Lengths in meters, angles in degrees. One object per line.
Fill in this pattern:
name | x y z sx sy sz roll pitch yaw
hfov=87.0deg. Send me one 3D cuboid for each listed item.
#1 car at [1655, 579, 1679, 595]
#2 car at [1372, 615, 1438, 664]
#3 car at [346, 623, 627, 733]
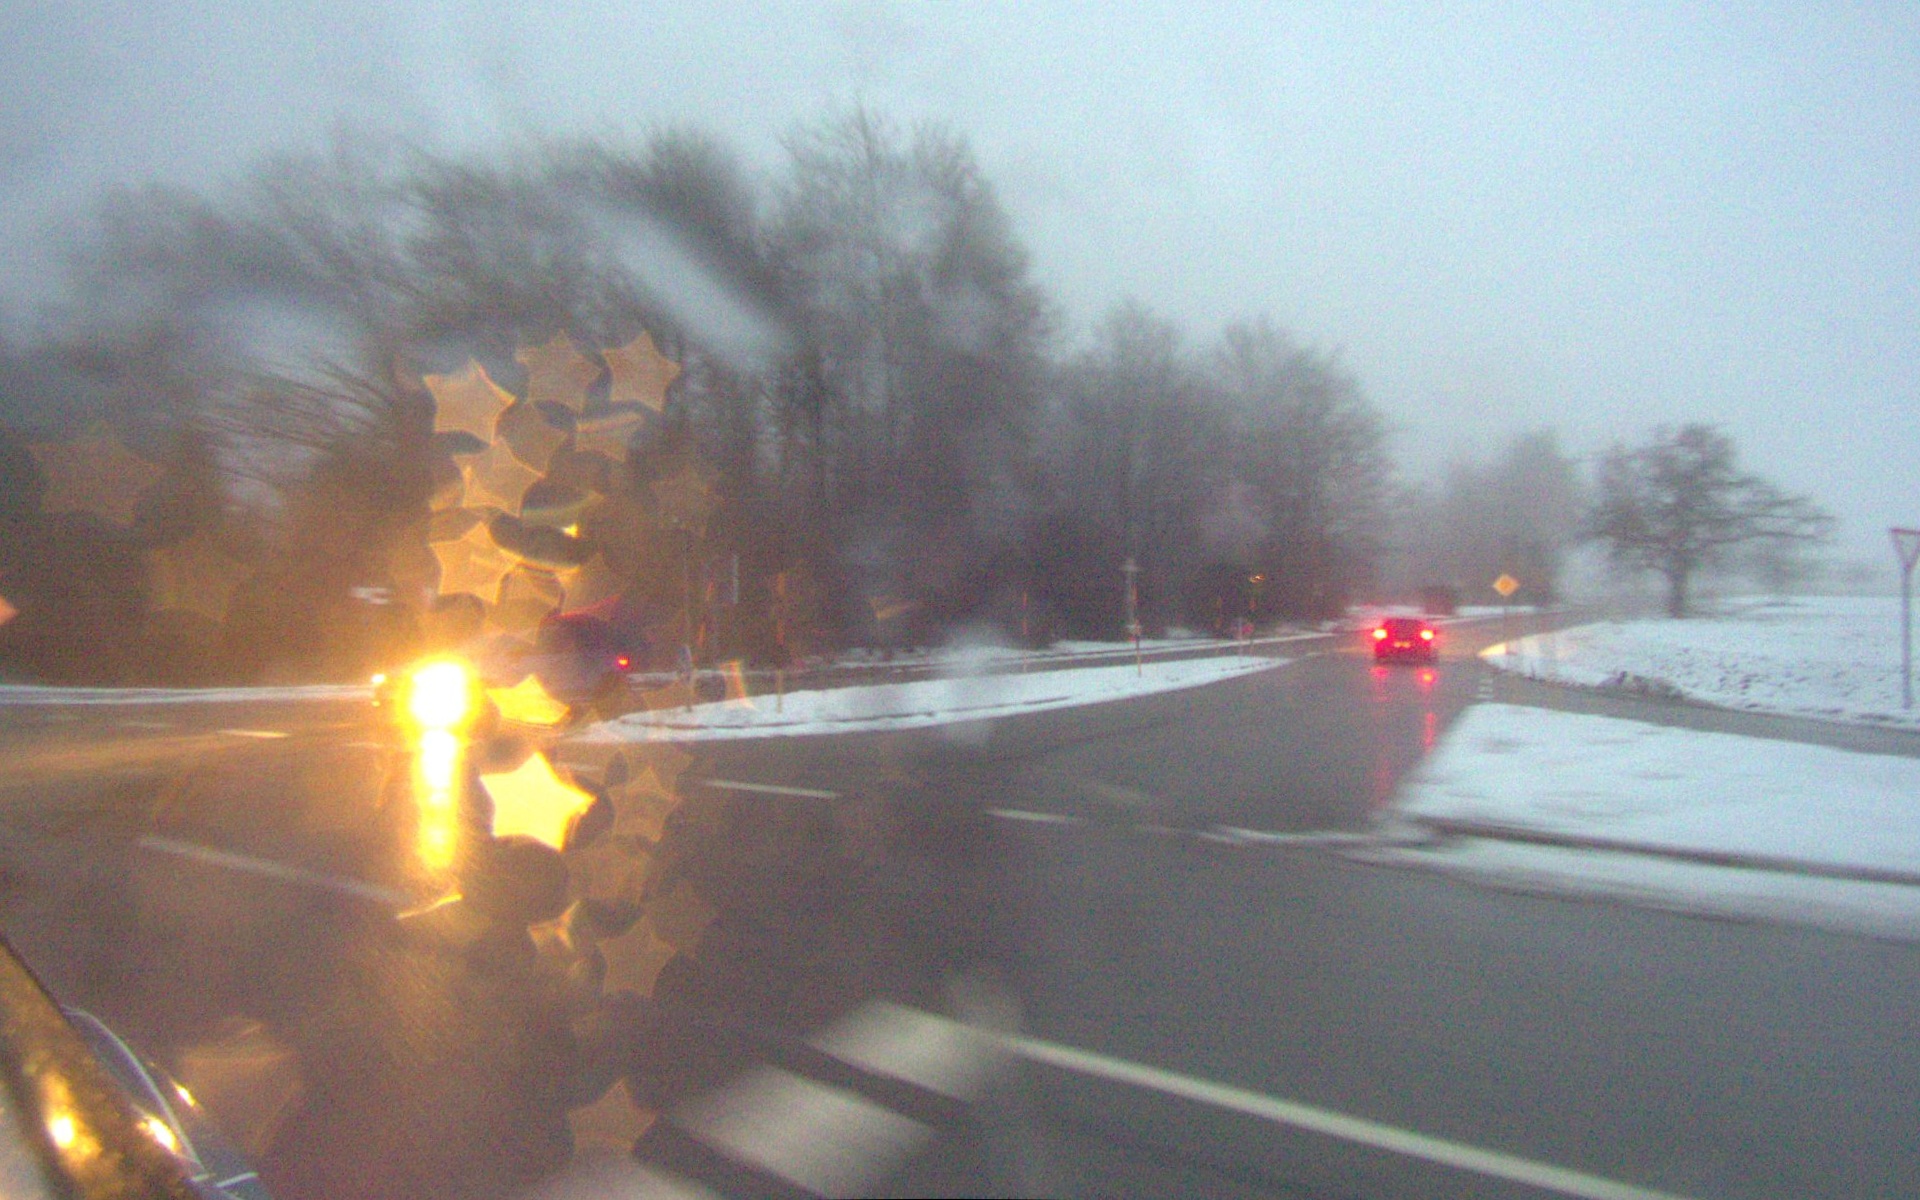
car | 88.202 -1.634 126.295 1.999 1.820 3.945 -2 -1 41
car | 14.059 1.224 31.896 1.570 1.463 3.379 -2 -2 29
car | -7.176 1.106 15.663 1.719 1.445 3.640 -2 -2 29
